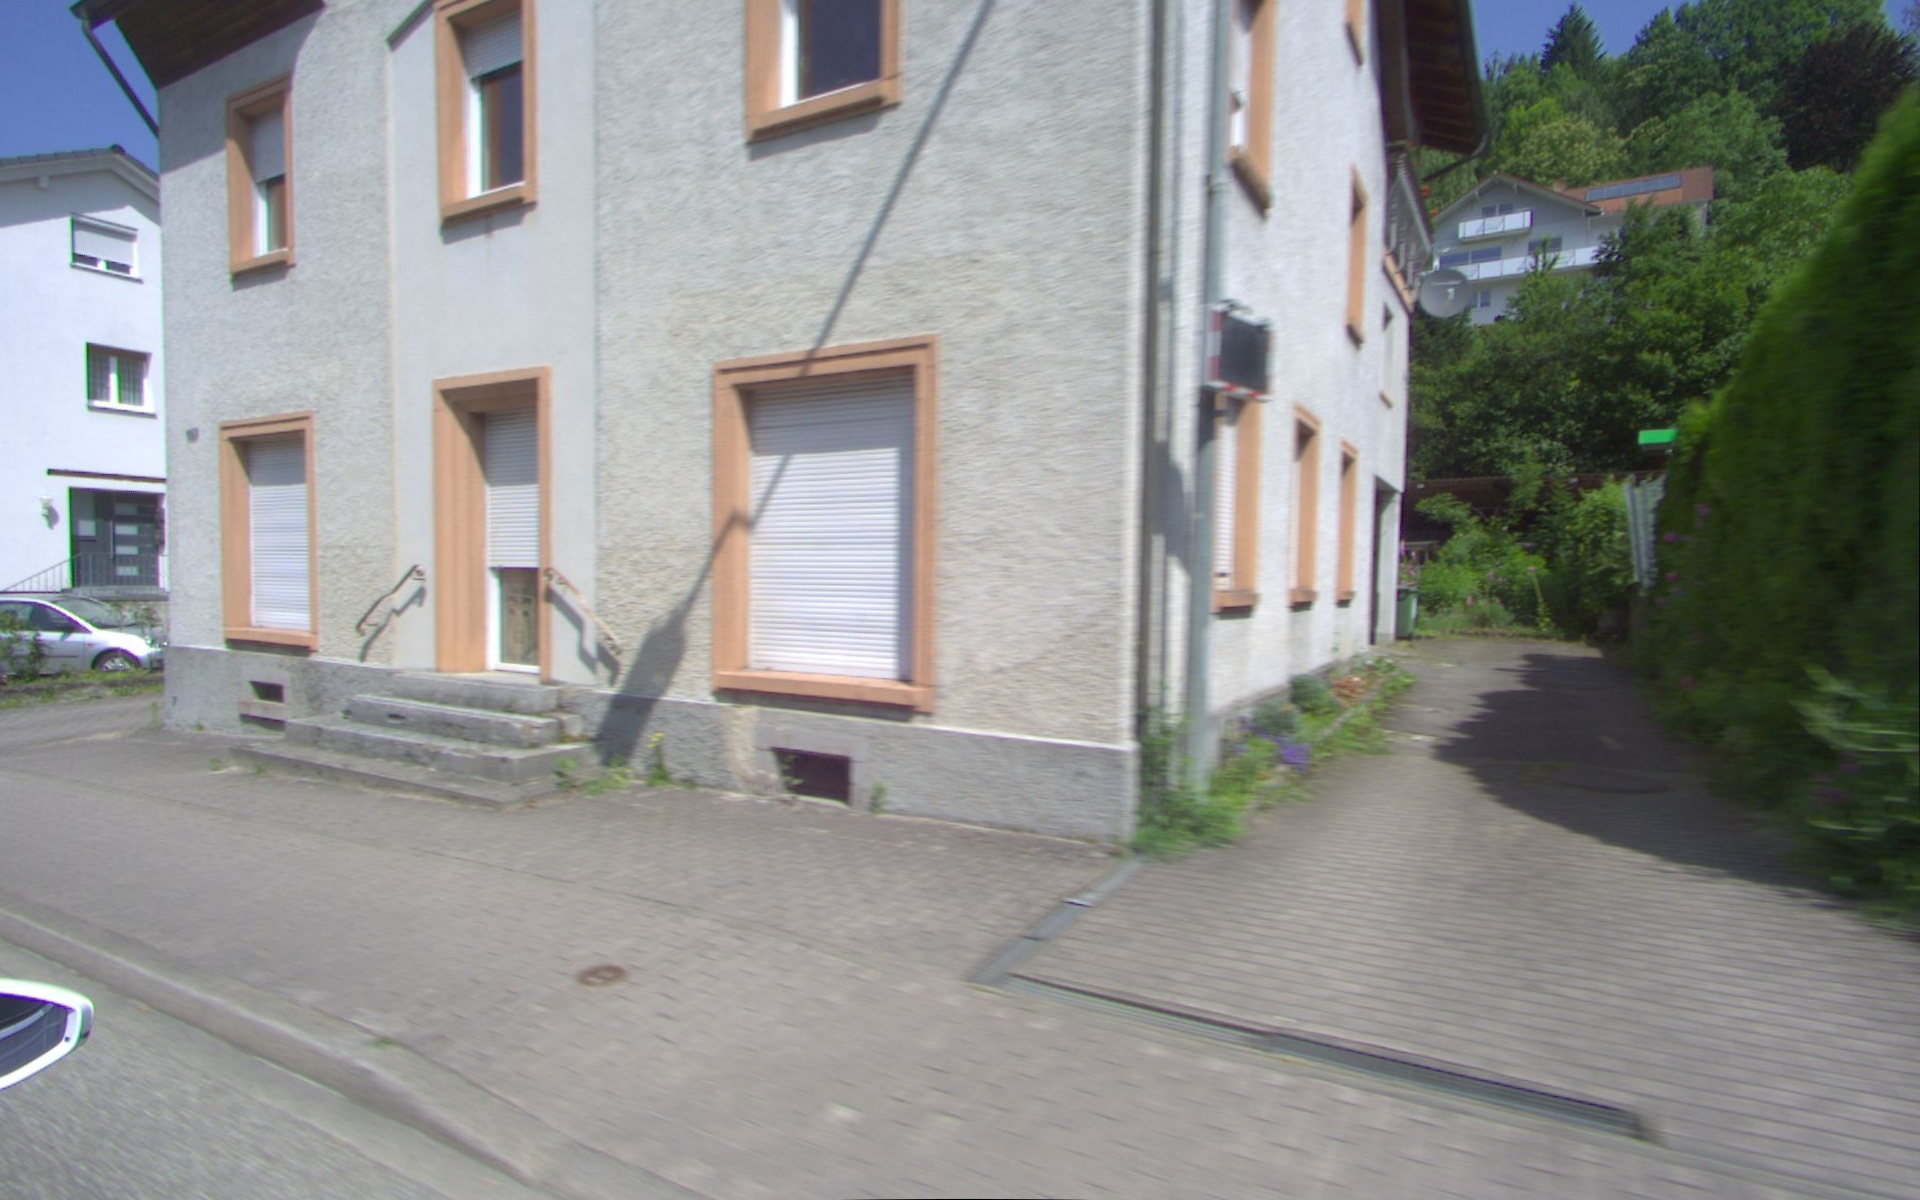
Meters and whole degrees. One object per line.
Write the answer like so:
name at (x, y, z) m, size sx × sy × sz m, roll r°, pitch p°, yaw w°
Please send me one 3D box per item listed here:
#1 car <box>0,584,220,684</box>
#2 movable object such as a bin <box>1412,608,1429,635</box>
car at (-14.565, 0.511, 16.248) m, size 3.708 × 1.448 × 1.605 m, roll 0°, pitch 5°, yaw -15°
movable object such as a bin at (9.928, 0.469, 21.585) m, size 0.297 × 0.564 × 0.308 m, roll -1°, pitch 1°, yaw 32°
